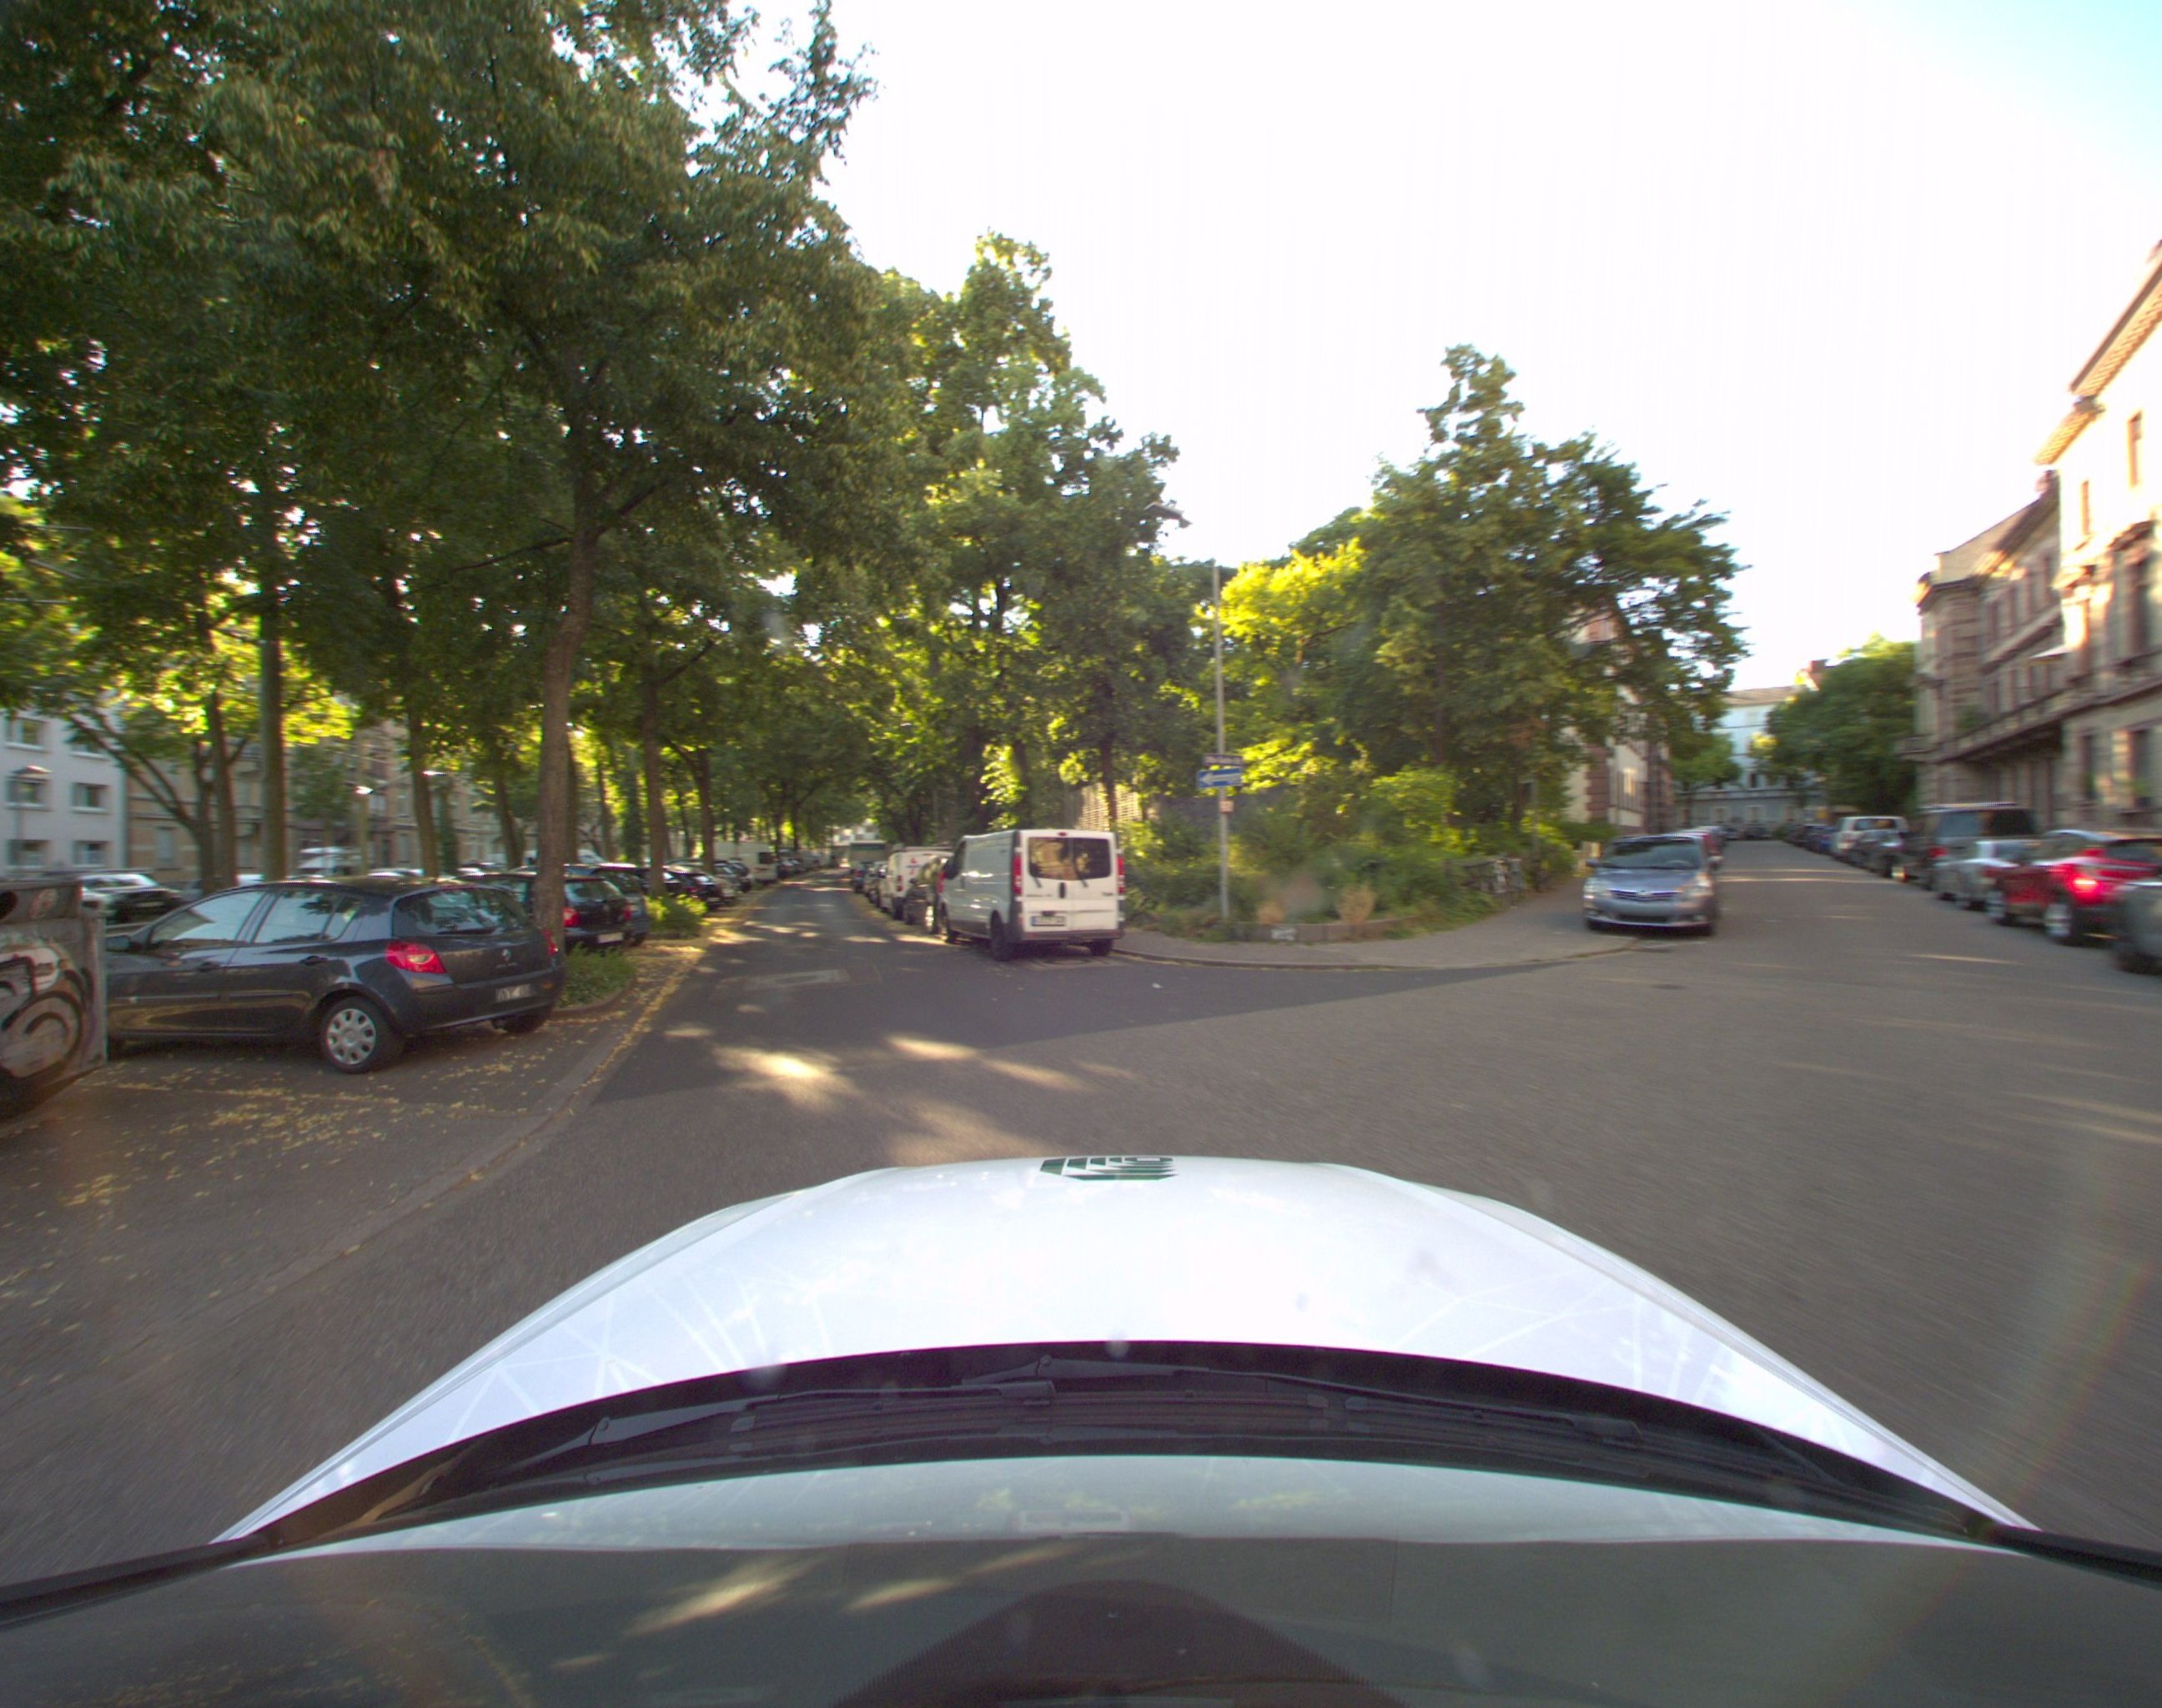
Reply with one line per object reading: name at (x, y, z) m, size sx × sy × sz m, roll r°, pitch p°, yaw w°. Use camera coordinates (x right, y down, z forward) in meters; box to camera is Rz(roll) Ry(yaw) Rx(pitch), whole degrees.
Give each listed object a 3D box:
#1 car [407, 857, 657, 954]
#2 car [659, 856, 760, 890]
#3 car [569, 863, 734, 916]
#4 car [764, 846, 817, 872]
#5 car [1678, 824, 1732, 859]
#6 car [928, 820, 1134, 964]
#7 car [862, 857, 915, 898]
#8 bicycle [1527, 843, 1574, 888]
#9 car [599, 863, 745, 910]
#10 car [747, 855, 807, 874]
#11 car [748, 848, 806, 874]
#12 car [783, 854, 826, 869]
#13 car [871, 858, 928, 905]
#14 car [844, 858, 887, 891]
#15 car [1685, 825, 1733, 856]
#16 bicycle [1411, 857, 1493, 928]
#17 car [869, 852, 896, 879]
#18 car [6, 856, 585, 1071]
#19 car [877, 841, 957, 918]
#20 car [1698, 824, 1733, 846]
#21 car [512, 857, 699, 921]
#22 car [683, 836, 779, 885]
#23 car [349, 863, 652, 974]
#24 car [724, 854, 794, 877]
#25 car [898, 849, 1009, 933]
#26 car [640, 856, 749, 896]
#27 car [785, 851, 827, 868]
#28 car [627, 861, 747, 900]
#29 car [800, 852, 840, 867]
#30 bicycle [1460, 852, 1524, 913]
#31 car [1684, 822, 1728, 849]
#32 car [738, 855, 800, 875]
car at (-10.006, 0.891, 14.967) m, size 3.588 × 1.562 × 1.611 m, roll 1°, pitch 0°, yaw 7°
car at (-17.193, 0.866, 37.783) m, size 3.801 × 1.482 × 1.739 m, roll 1°, pitch -1°, yaw 3°
car at (-12.316, 1.003, 23.515) m, size 3.801 × 1.391 × 1.739 m, roll 1°, pitch -1°, yaw 3°
car at (-26.090, 0.461, 73.130) m, size 4.050 × 2.210 × 1.826 m, roll 1°, pitch -1°, yaw 14°
car at (29.350, -0.617, 38.289) m, size 1.809 × 1.500 × 3.956 m, roll 3°, pitch 3°, yaw 40°
car at (-1.068, 0.523, 13.931) m, size 1.953 × 2.003 × 4.621 m, roll -2°, pitch 0°, yaw -25°
car at (-7.576, 0.875, 31.846) m, size 1.577 × 1.467 × 3.576 m, roll -2°, pitch 0°, yaw -20°
bicycle at (12.593, 0.290, 21.800) m, size 0.591 × 1.101 × 2.644 m, roll -1°, pitch 1°, yaw 41°
car at (-13.179, 1.019, 26.398) m, size 3.801 × 1.391 × 1.739 m, roll 1°, pitch -1°, yaw 3°
car at (-24.109, 0.838, 64.643) m, size 4.050 × 1.473 × 1.826 m, roll 1°, pitch -1°, yaw 14°
car at (-25.020, 0.547, 67.020) m, size 4.050 × 2.040 × 1.826 m, roll 1°, pitch -1°, yaw 14°
car at (-29.912, 0.810, 88.057) m, size 4.050 × 1.473 × 1.826 m, roll 1°, pitch -1°, yaw 14°
car at (-6.127, 0.863, 27.254) m, size 1.575 × 1.386 × 3.579 m, roll -2°, pitch 0°, yaw -17°
car at (-9.814, 0.885, 36.957) m, size 1.577 × 1.385 × 3.576 m, roll -2°, pitch 0°, yaw -20°
car at (32.604, -0.738, 42.238) m, size 1.809 × 1.500 × 3.956 m, roll 3°, pitch 3°, yaw 40°
bicycle at (6.699, 0.649, 14.619) m, size 0.591 × 1.101 × 2.644 m, roll -1°, pitch 1°, yaw 41°
car at (-12.913, 0.708, 52.983) m, size 1.573 × 1.648 × 3.583 m, roll -2°, pitch 0°, yaw -14°
car at (-6.657, 0.825, 7.123) m, size 3.704 × 1.520 × 1.611 m, roll 1°, pitch 1°, yaw 6°
car at (-4.627, 0.642, 22.584) m, size 1.576 × 1.903 × 3.876 m, roll -2°, pitch 0°, yaw -20°
car at (45.652, -1.378, 58.538) m, size 1.809 × 1.500 × 3.956 m, roll 3°, pitch 3°, yaw 40°
car at (-12.244, 0.879, 21.130) m, size 3.801 × 1.497 × 1.739 m, roll 1°, pitch -1°, yaw 3°
car at (-18.845, 0.358, 43.865) m, size 4.453 × 2.476 × 1.826 m, roll 1°, pitch -1°, yaw 14°
car at (-8.799, 0.921, 12.498) m, size 3.588 × 1.447 × 1.611 m, roll 1°, pitch 1°, yaw 6°
car at (-21.891, 0.799, 55.389) m, size 4.050 × 1.473 × 1.826 m, roll 1°, pitch -1°, yaw 14°
car at (-2.950, 0.744, 18.260) m, size 1.578 × 1.637 × 3.683 m, roll -2°, pitch 0°, yaw -23°
car at (-16.562, 0.933, 34.993) m, size 3.801 × 1.587 × 1.739 m, roll 1°, pitch -1°, yaw 3°
car at (-30.680, 0.605, 90.825) m, size 4.050 × 1.789 × 1.826 m, roll 1°, pitch -1°, yaw 14°
car at (-15.512, 1.030, 32.182) m, size 3.801 × 1.421 × 1.739 m, roll 1°, pitch -1°, yaw 3°
car at (-30.907, 0.655, 96.488) m, size 4.050 × 1.789 × 1.826 m, roll 1°, pitch -1°, yaw 14°
bicycle at (8.467, 0.549, 16.706) m, size 0.591 × 1.101 × 2.644 m, roll -1°, pitch 1°, yaw 39°
car at (36.187, -1.096, 47.131) m, size 1.809 × 1.500 × 3.956 m, roll 3°, pitch 3°, yaw 40°
car at (-23.716, 0.838, 61.995) m, size 4.050 × 1.473 × 1.826 m, roll 1°, pitch -1°, yaw 14°
